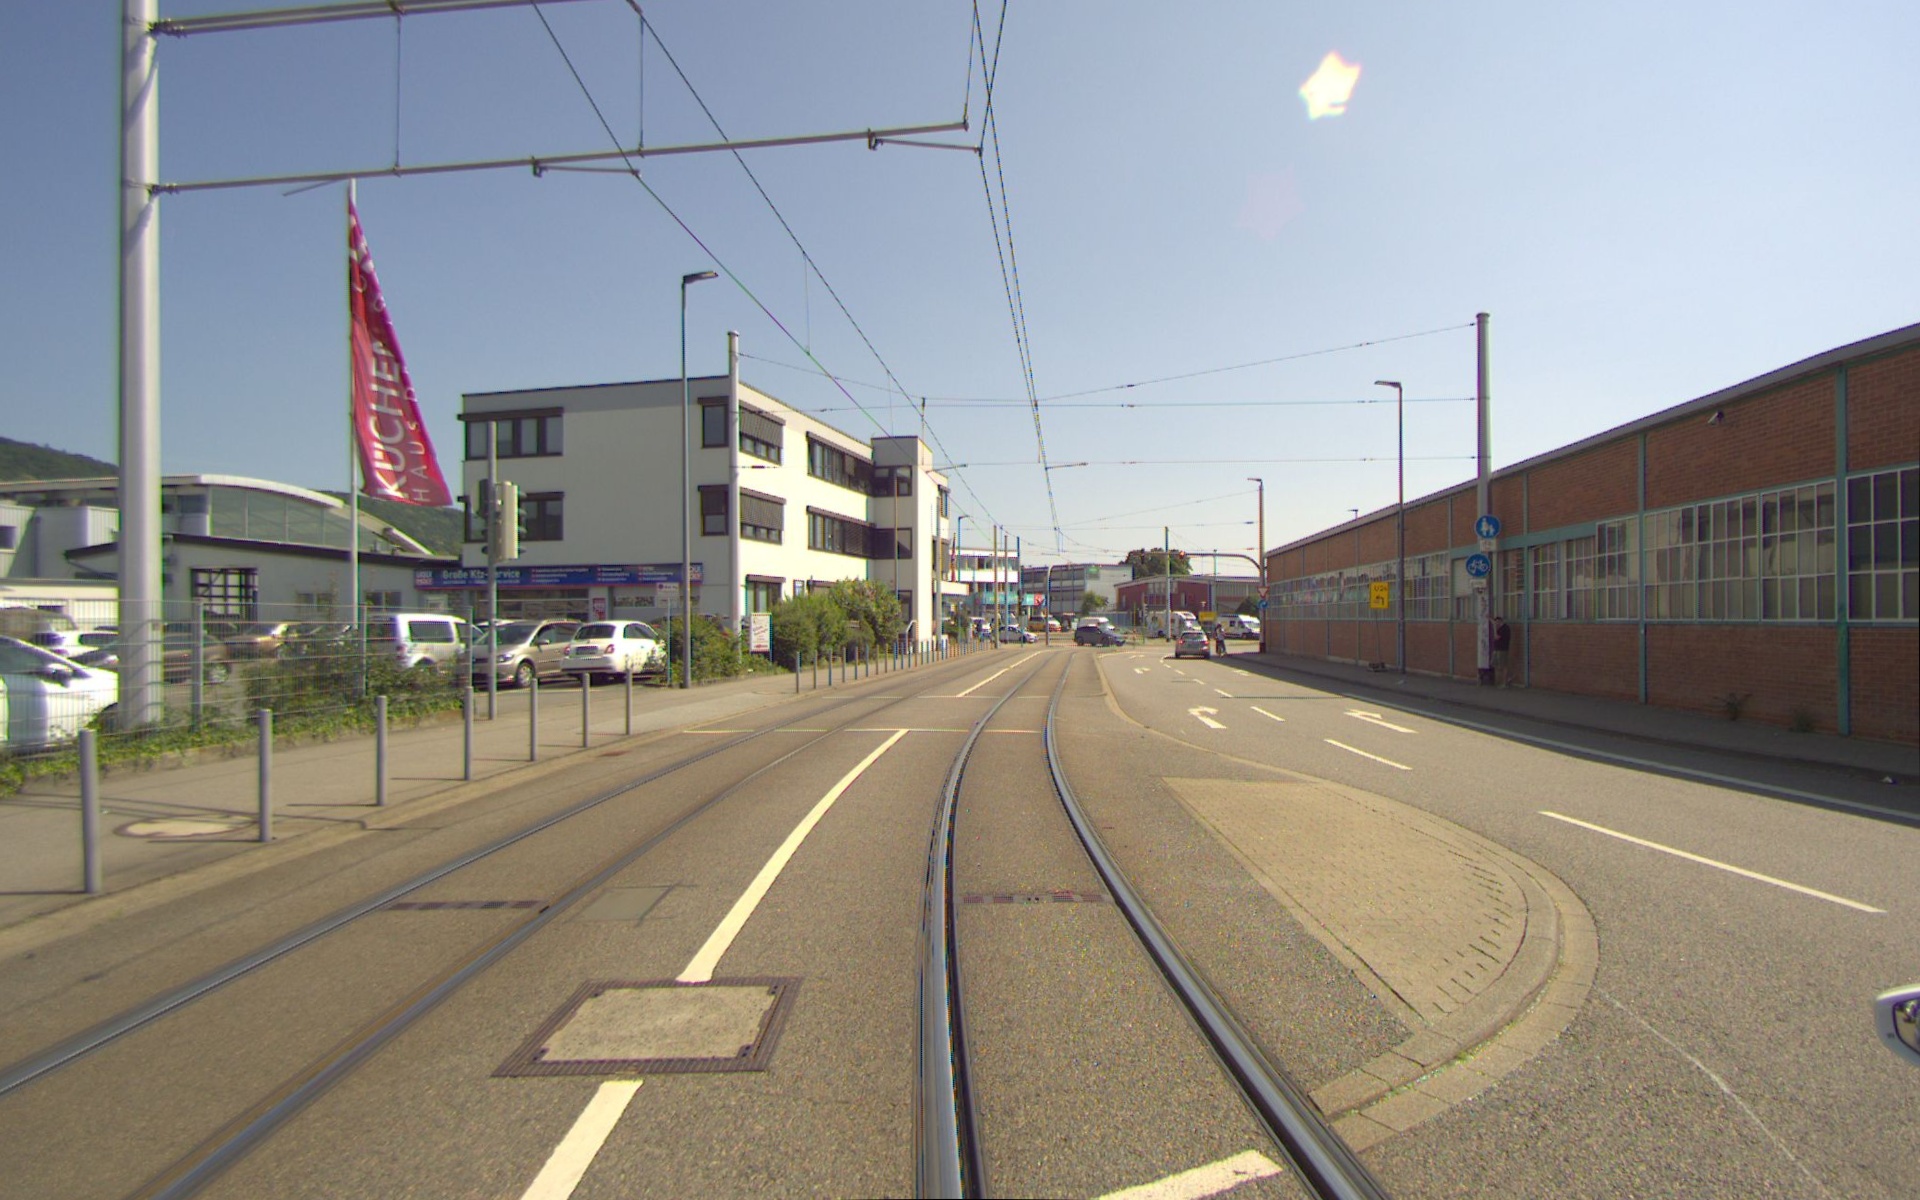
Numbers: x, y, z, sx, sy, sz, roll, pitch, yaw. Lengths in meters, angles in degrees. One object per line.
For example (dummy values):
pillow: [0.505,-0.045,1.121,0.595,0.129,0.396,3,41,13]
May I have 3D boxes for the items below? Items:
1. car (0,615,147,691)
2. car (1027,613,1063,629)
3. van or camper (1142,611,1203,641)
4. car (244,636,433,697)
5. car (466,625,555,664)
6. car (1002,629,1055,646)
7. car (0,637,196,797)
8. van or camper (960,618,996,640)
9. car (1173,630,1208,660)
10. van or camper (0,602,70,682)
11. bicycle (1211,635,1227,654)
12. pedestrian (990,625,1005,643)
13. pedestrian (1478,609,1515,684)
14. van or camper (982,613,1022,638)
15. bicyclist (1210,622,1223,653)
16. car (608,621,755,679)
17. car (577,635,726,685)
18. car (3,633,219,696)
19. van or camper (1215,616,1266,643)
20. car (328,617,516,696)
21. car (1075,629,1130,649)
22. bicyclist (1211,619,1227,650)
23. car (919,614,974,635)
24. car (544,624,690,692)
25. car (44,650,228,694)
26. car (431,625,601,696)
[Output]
car: [-26.437,1.474,28.787,2.016,2.040,4.583,-1,-1,13]
car: [9.986,2.468,118.652,1.918,1.782,5.091,0,-1,-25]
van or camper: [22.959,2.797,108.813,2.329,2.970,6.920,-1,1,-34]
car: [-15.899,1.670,25.947,1.810,1.376,4.002,-1,-1,15]
car: [-17.274,1.694,38.726,1.394,1.445,3.132,-2,-2,19]
car: [5.856,3.212,86.137,4.125,1.393,1.802,-1,-1,24]
car: [-9.642,1.084,9.390,1.678,1.452,3.958,0,-2,7]
van or camper: [1.817,2.988,104.387,1.971,2.041,4.984,-1,1,-22]
car: [12.380,2.399,54.152,1.716,1.478,4.003,-1,-1,11]
van or camper: [-29.052,1.227,29.223,1.745,2.336,4.605,0,-1,11]
bicycle: [15.037,2.567,58.393,0.780,1.035,2.152,0,-1,12]
pedestrian: [3.015,2.733,80.510,1.111,1.474,0.837,0,-1,-2]
pedestrian: [13.075,1.122,24.490,0.672,1.789,0.449,0,1,9]
van or camper: [4.364,2.641,105.565,2.008,2.327,5.782,-1,1,-22]
bicyclist: [15.327,2.214,60.089,0.695,1.834,0.984,0,-1,10]
car: [-8.637,1.551,31.322,3.919,1.728,2.001,-1,-1,9]
car: [-8.932,1.728,29.238,3.758,1.388,1.749,-1,-1,10]
car: [-24.064,1.783,28.712,1.952,1.578,4.428,-1,-2,13]
van or camper: [30.158,3.157,108.218,2.261,2.473,5.346,-1,2,-28]
car: [-13.355,1.352,25.235,1.960,1.808,4.002,-1,-1,15]
car: [11.283,3.111,79.727,3.932,1.528,1.874,-2,-2,33]
bicyclist: [14.987,1.985,58.153,0.772,1.744,1.147,0,-1,11]
car: [-1.026,1.937,78.226,3.919,1.539,2.001,0,1,11]
car: [-8.554,1.409,25.403,1.706,1.562,3.838,-1,-1,14]
car: [-22.050,1.911,27.033,1.714,0.996,3.490,-1,-1,15]
car: [-10.908,1.447,25.007,1.819,1.588,3.937,-1,-1,15]
